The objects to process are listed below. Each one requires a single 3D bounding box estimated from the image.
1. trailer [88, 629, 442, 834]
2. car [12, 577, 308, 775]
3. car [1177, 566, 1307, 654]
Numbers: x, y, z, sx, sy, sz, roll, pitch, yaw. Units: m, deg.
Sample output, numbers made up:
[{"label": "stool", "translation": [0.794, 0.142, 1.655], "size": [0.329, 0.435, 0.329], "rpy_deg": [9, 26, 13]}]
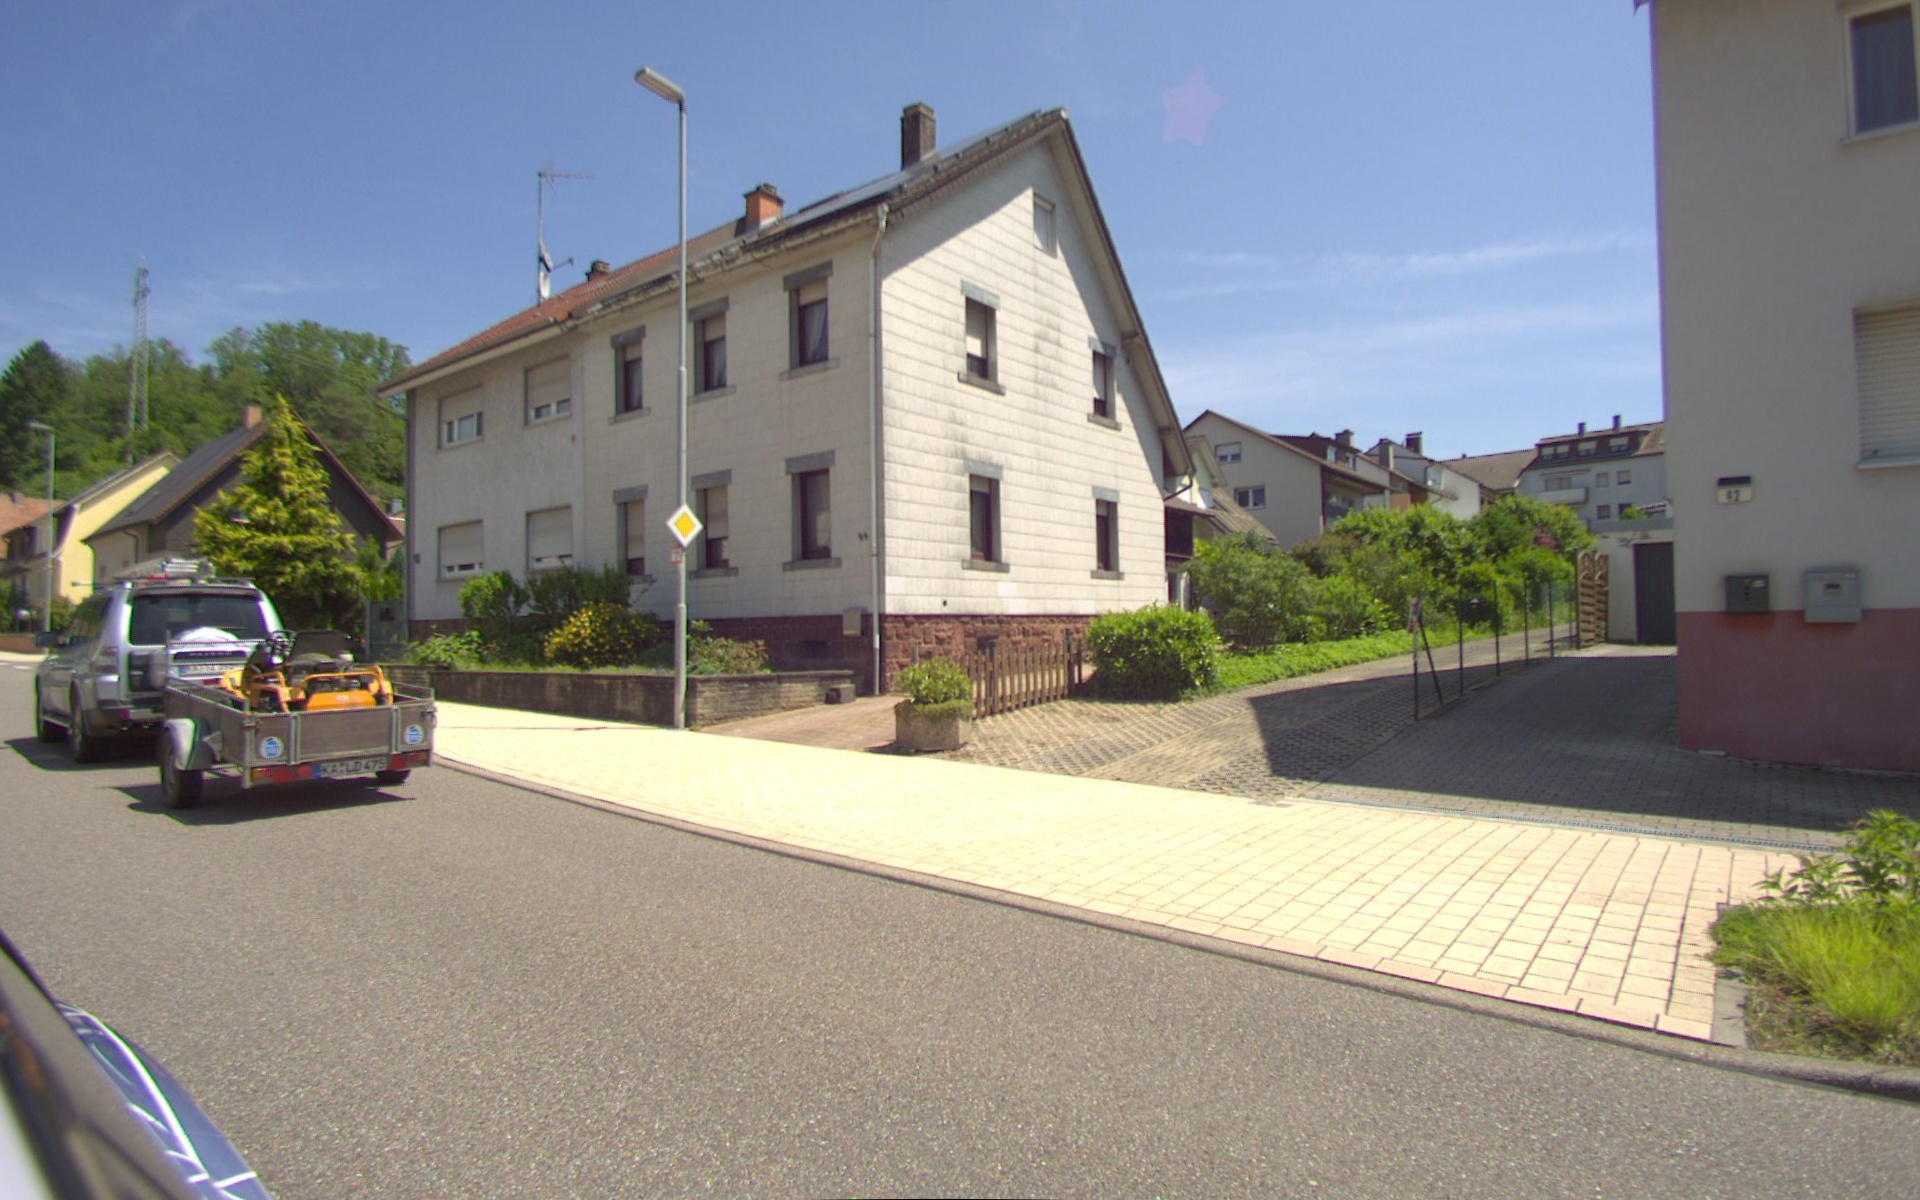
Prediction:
[{"label": "trailer", "translation": [-6.344, 0.962, 9.020], "size": [4.400, 1.406, 1.558], "rpy_deg": [-1, -2, 41]}, {"label": "car", "translation": [-9.439, 0.785, 11.801], "size": [4.575, 1.875, 1.870], "rpy_deg": [-1, -2, 41]}, {"label": "car", "translation": [6.693, 0.312, 23.699], "size": [1.992, 1.847, 4.285], "rpy_deg": [-1, -3, 30]}]
